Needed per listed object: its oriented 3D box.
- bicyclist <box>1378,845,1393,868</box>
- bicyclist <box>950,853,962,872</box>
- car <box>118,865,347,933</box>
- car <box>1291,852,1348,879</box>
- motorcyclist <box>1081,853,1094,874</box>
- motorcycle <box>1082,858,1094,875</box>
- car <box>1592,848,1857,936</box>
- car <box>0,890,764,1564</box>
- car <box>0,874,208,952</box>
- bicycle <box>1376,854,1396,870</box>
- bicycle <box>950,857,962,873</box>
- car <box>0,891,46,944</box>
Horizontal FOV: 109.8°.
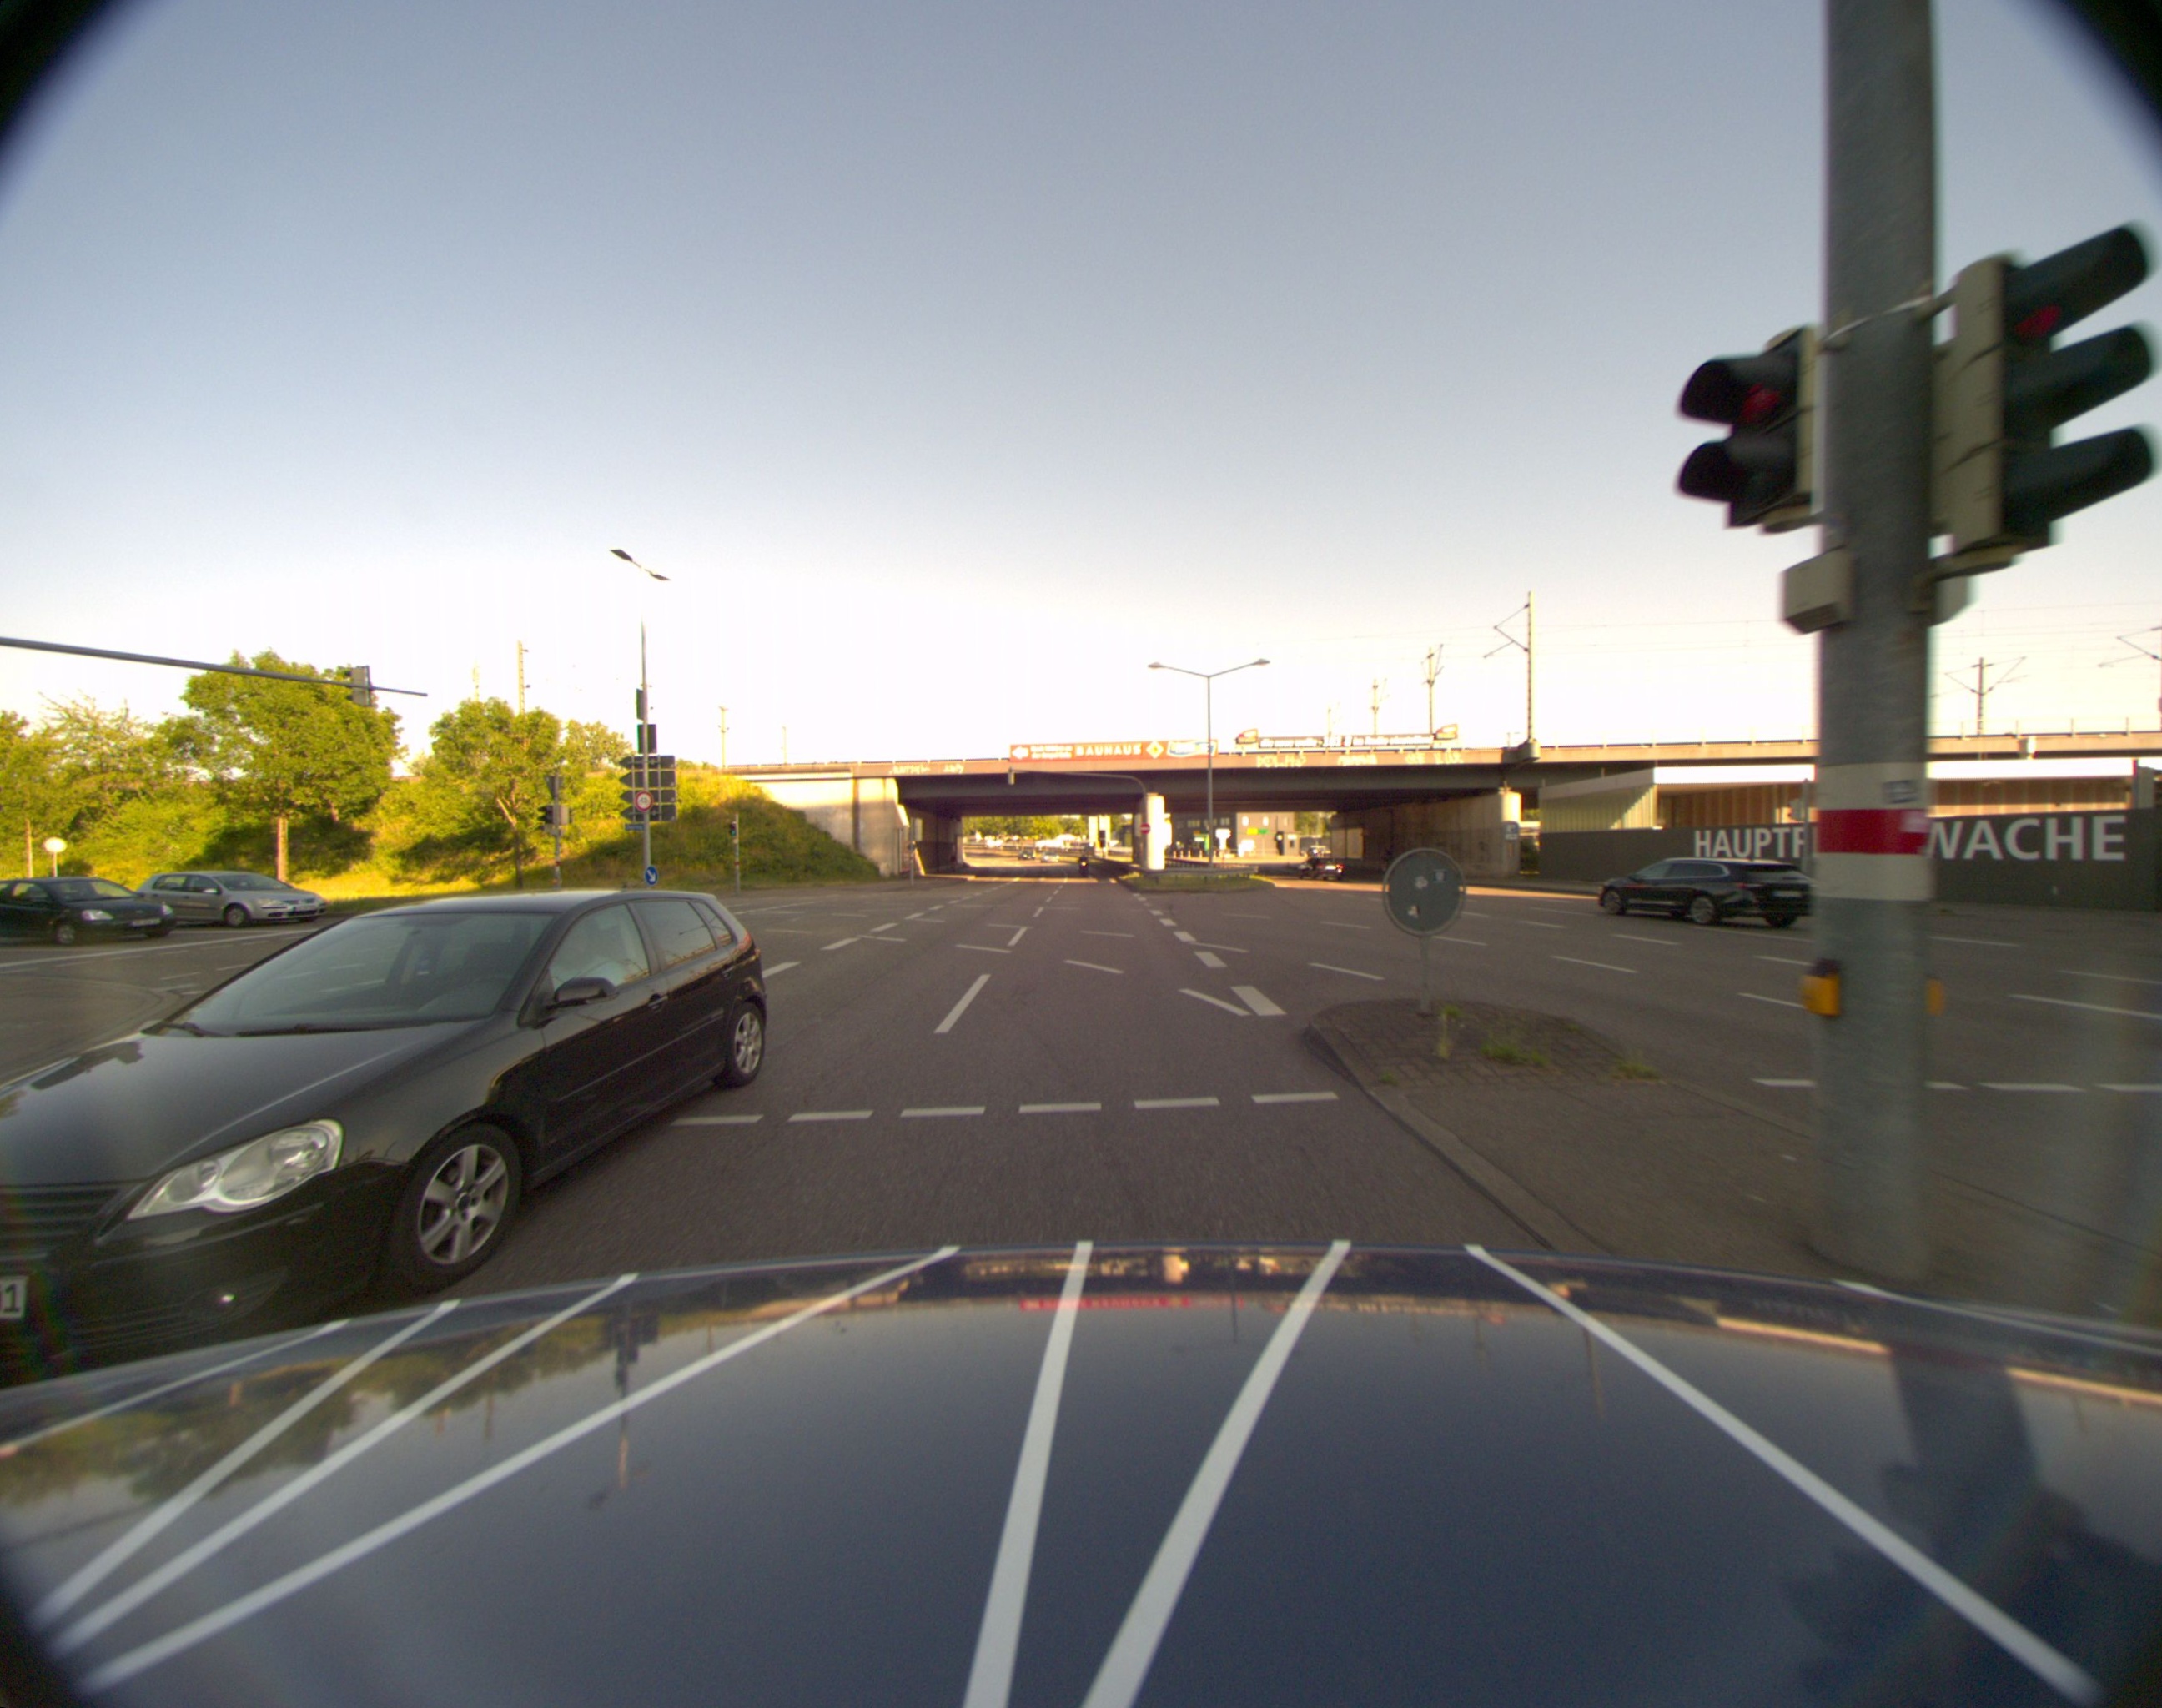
[{"bbox_3d":[21.695,0.166,54.106,0.726,1.555,0.939,-2,2,5],"label":"bicyclist"},{"bbox_3d":[-9.422,0.633,57.243,0.843,1.413,1.113,-3,2,-8],"label":"bicyclist"},{"bbox_3d":[-22.683,1.174,20.439,3.996,1.521,1.890,-2,2,2],"label":"car"},{"bbox_3d":[14.549,0.689,46.605,1.999,1.393,4.347,3,1,-1],"label":"car"},{"bbox_3d":[0.455,0.652,53.073,0.839,1.434,0.878,-2,2,1],"label":"motorcyclist"},{"bbox_3d":[0.473,0.857,53.011,0.811,1.040,2.352,-2,2,1],"label":"motorcycle"},{"bbox_3d":[14.473,0.746,17.567,1.999,1.583,4.713,3,1,-1],"label":"car"},{"bbox_3d":[-3.133,1.036,3.695,1.621,1.402,3.681,-2,2,-1],"label":"car"},{"bbox_3d":[-23.021,1.328,17.395,3.995,1.521,2.000,-2,2,7],"label":"car"},{"bbox_3d":[21.702,0.557,54.029,0.706,1.149,2.081,-2,0,5],"label":"bicycle"},{"bbox_3d":[-9.412,0.806,57.303,0.783,1.051,2.494,-2,2,-7],"label":"bicycle"},{"bbox_3d":[-34.901,2.037,23.132,4.336,1.559,2.041,-2,2,7],"label":"car"}]
